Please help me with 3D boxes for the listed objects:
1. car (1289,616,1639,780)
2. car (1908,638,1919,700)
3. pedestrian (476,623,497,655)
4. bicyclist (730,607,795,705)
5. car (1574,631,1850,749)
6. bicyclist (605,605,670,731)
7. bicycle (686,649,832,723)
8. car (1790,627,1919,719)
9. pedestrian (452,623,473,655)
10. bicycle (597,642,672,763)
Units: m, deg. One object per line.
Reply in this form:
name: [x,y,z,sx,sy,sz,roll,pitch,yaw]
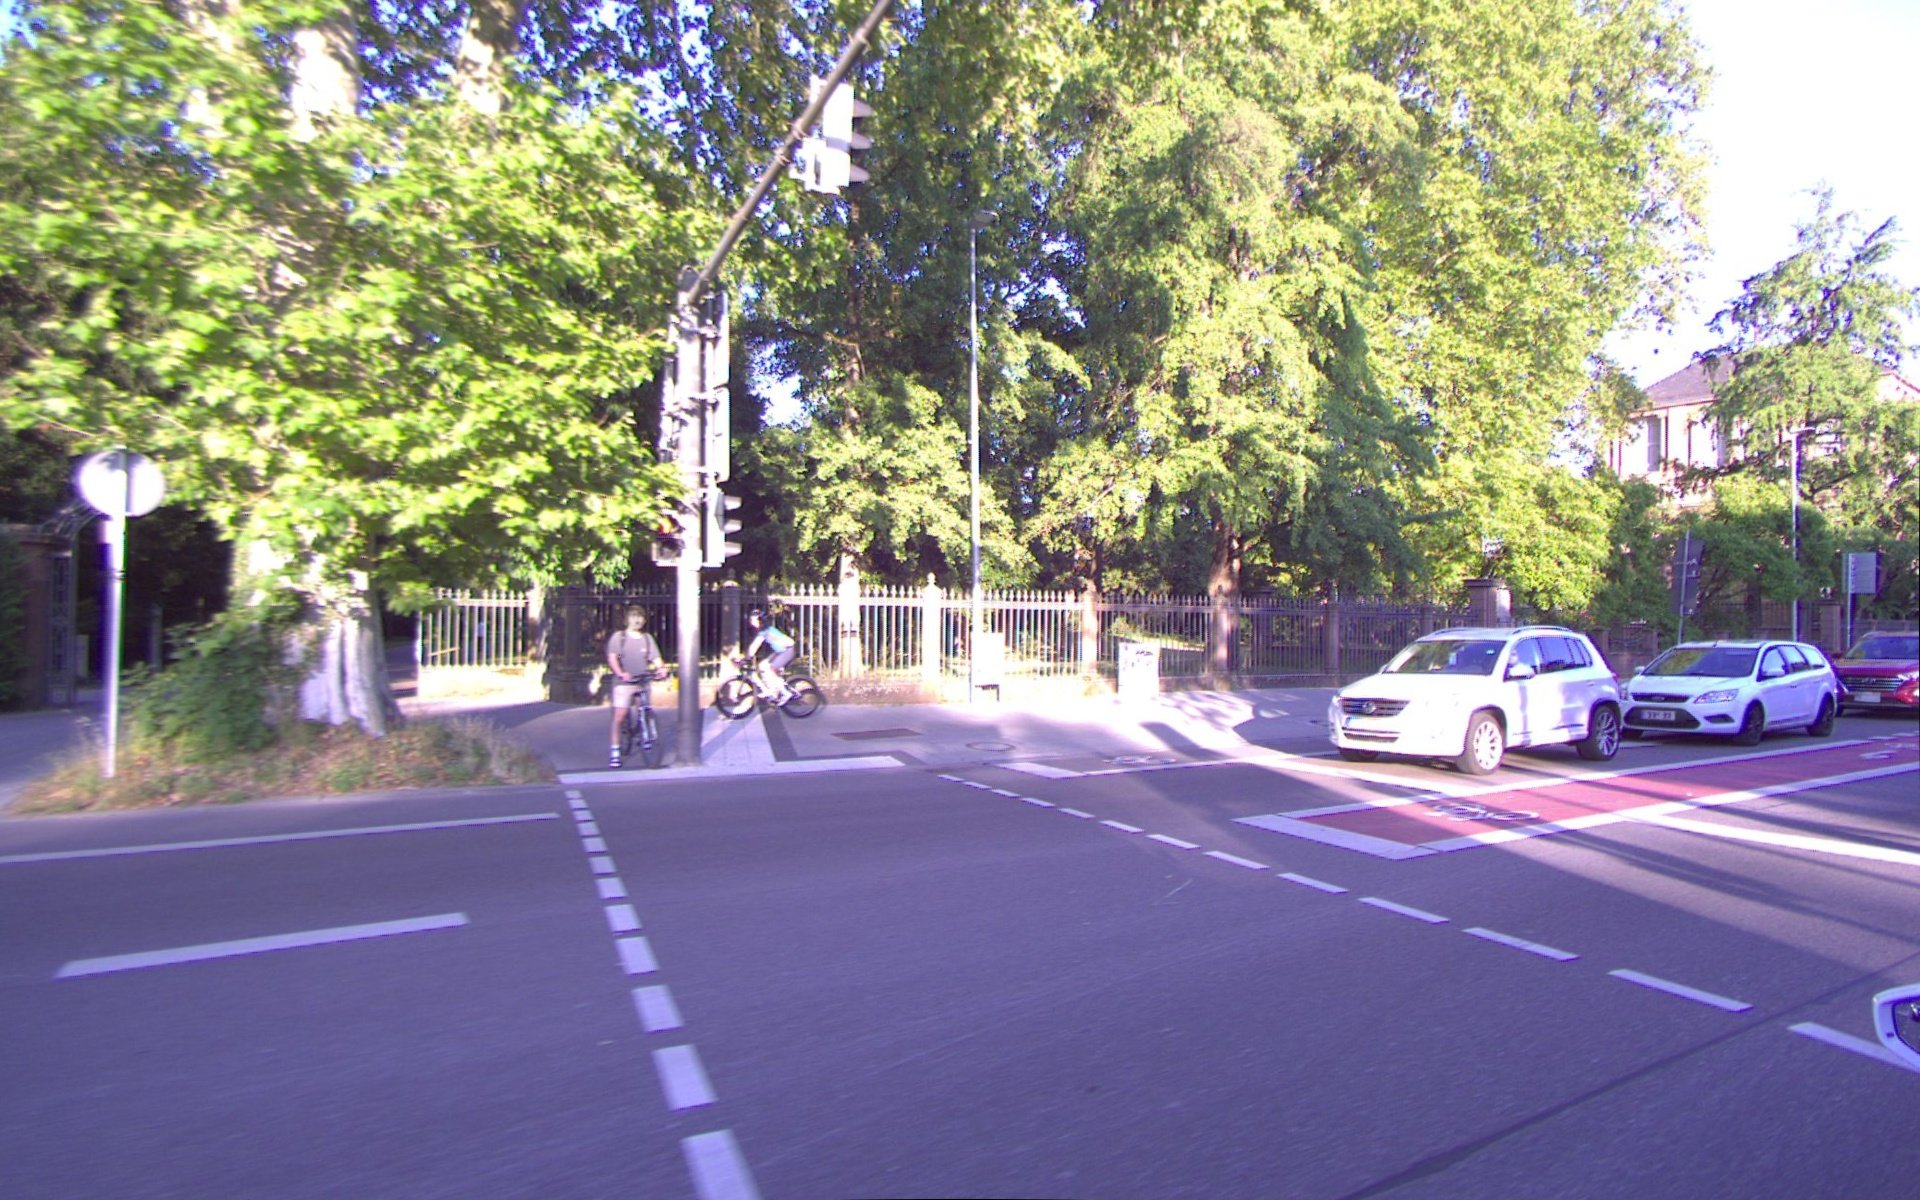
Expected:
car: [6.336,1.111,12.514,4.378,1.717,1.906,1,-3,-32]
car: [24.445,1.601,23.694,4.718,1.436,1.906,1,-3,-32]
pedestrian: [-25.479,2.097,54.064,0.892,1.682,0.870,1,-1,-21]
bicyclist: [-3.067,0.855,15.665,0.926,1.451,0.857,0,1,-8]
car: [11.778,1.308,15.659,4.623,1.604,1.906,1,-3,-32]
bicyclist: [-3.690,0.752,11.460,0.565,1.379,0.833,1,-1,-27]
bicycle: [-3.086,1.322,15.643,2.157,1.029,0.857,0,1,-8]
car: [18.612,1.395,19.964,4.588,1.646,1.906,1,-3,-32]
pedestrian: [-26.484,2.047,53.486,0.892,1.682,0.870,1,-1,-21]
bicycle: [-3.762,1.130,11.545,0.565,1.245,1.621,1,-1,-26]
